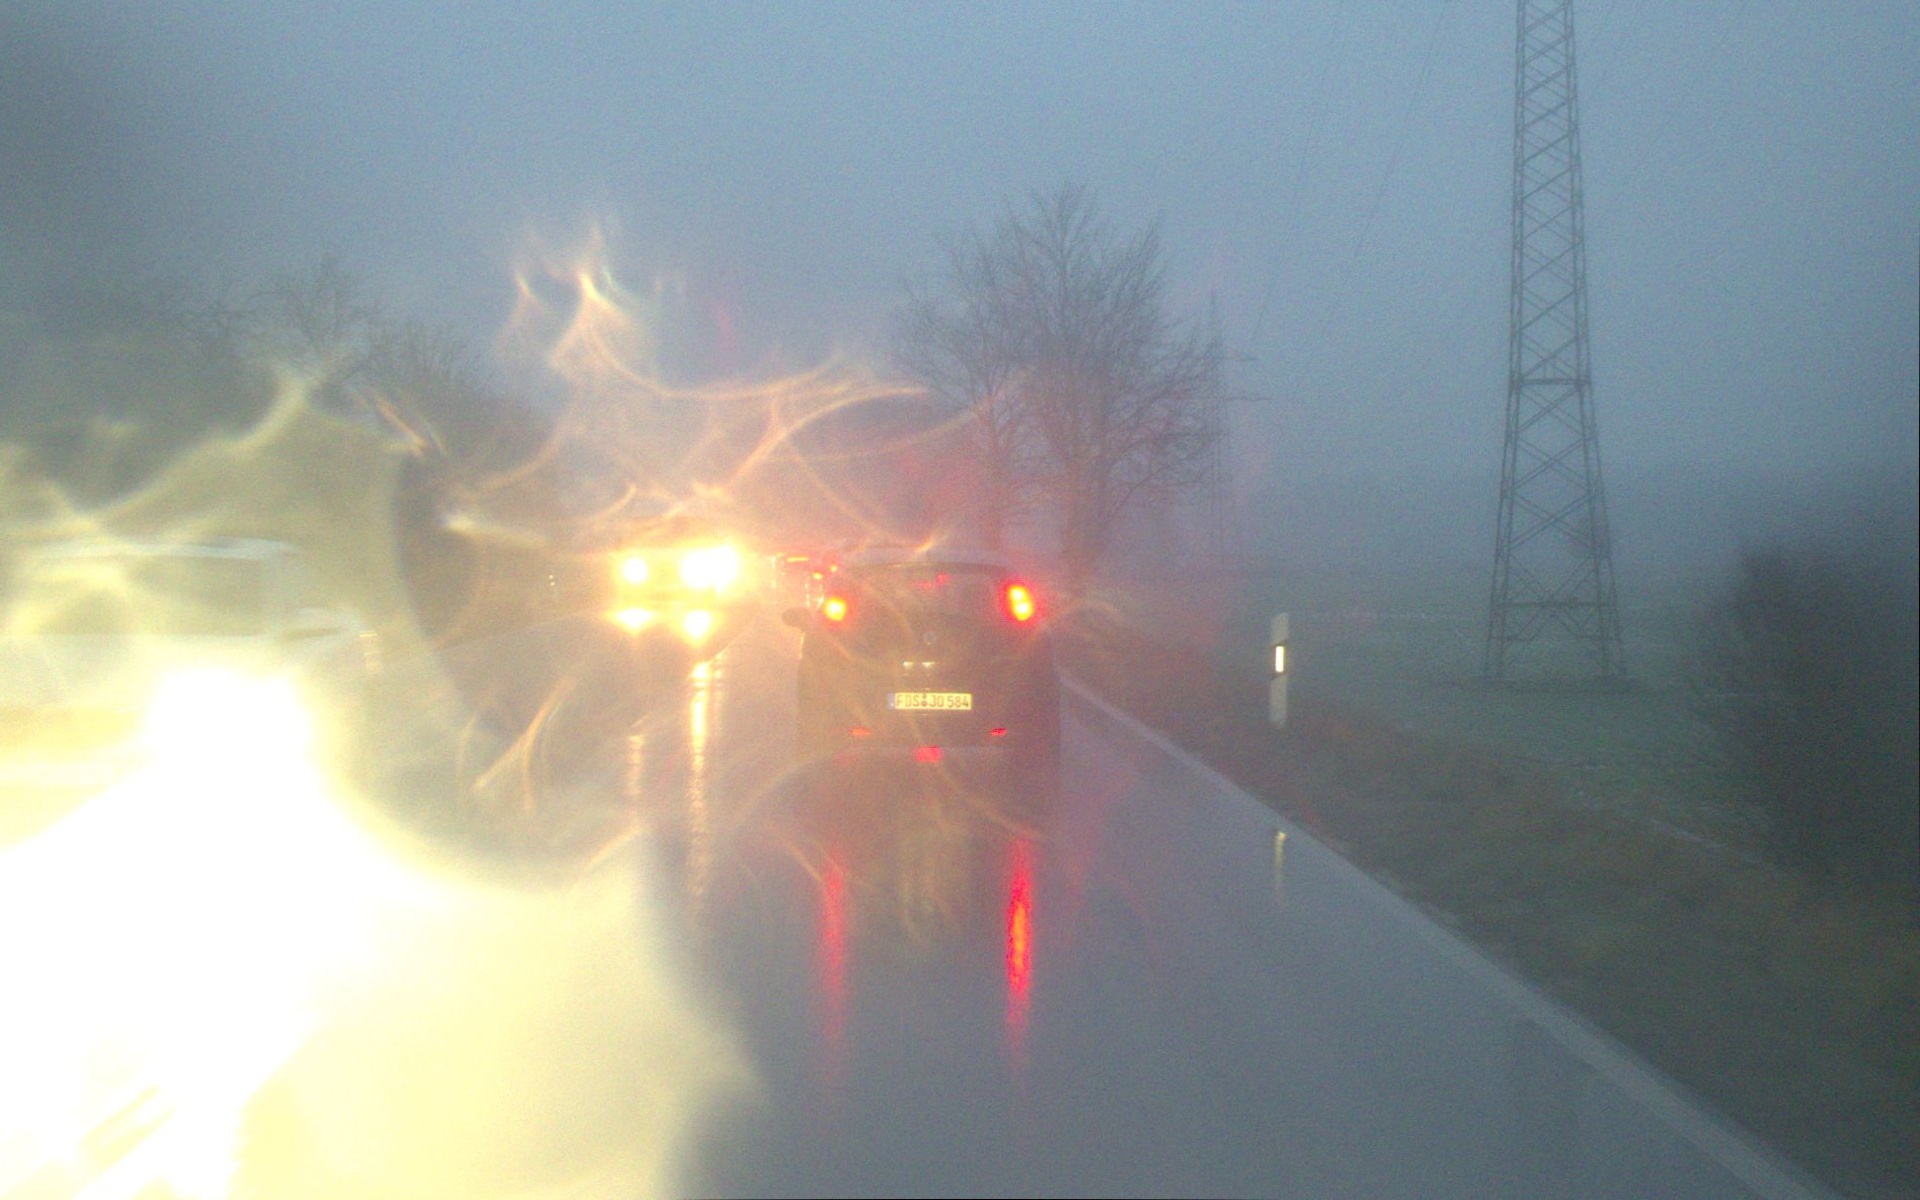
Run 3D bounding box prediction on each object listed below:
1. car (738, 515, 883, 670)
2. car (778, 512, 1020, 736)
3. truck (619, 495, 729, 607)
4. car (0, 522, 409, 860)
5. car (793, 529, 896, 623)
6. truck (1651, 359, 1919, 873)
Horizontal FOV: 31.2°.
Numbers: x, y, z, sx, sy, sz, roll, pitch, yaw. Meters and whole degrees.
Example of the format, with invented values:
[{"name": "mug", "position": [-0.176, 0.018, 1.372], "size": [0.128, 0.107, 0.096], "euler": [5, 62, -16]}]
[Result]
[{"name": "car", "position": [-2.002, -0.123, 46.954], "size": [1.852, 2.007, 4.000], "euler": [1, 1, -1]}, {"name": "car", "position": [-0.406, 0.128, 23.135], "size": [1.500, 1.393, 3.200], "euler": [1, 1, -1]}, {"name": "truck", "position": [-6.506, -1.128, 78.677], "size": [2.238, 2.459, 5.374], "euler": [1, 1, -2]}, {"name": "car", "position": [-3.994, 0.358, 17.611], "size": [1.688, 1.502, 4.413], "euler": [0, 1, -1]}, {"name": "car", "position": [-2.207, -0.482, 64.712], "size": [1.863, 1.694, 4.468], "euler": [0, 1, -3]}, {"name": "truck", "position": [6.044, 0.091, 17.094], "size": [2.503, 2.562, 10.807], "euler": [1, 1, -3]}]
